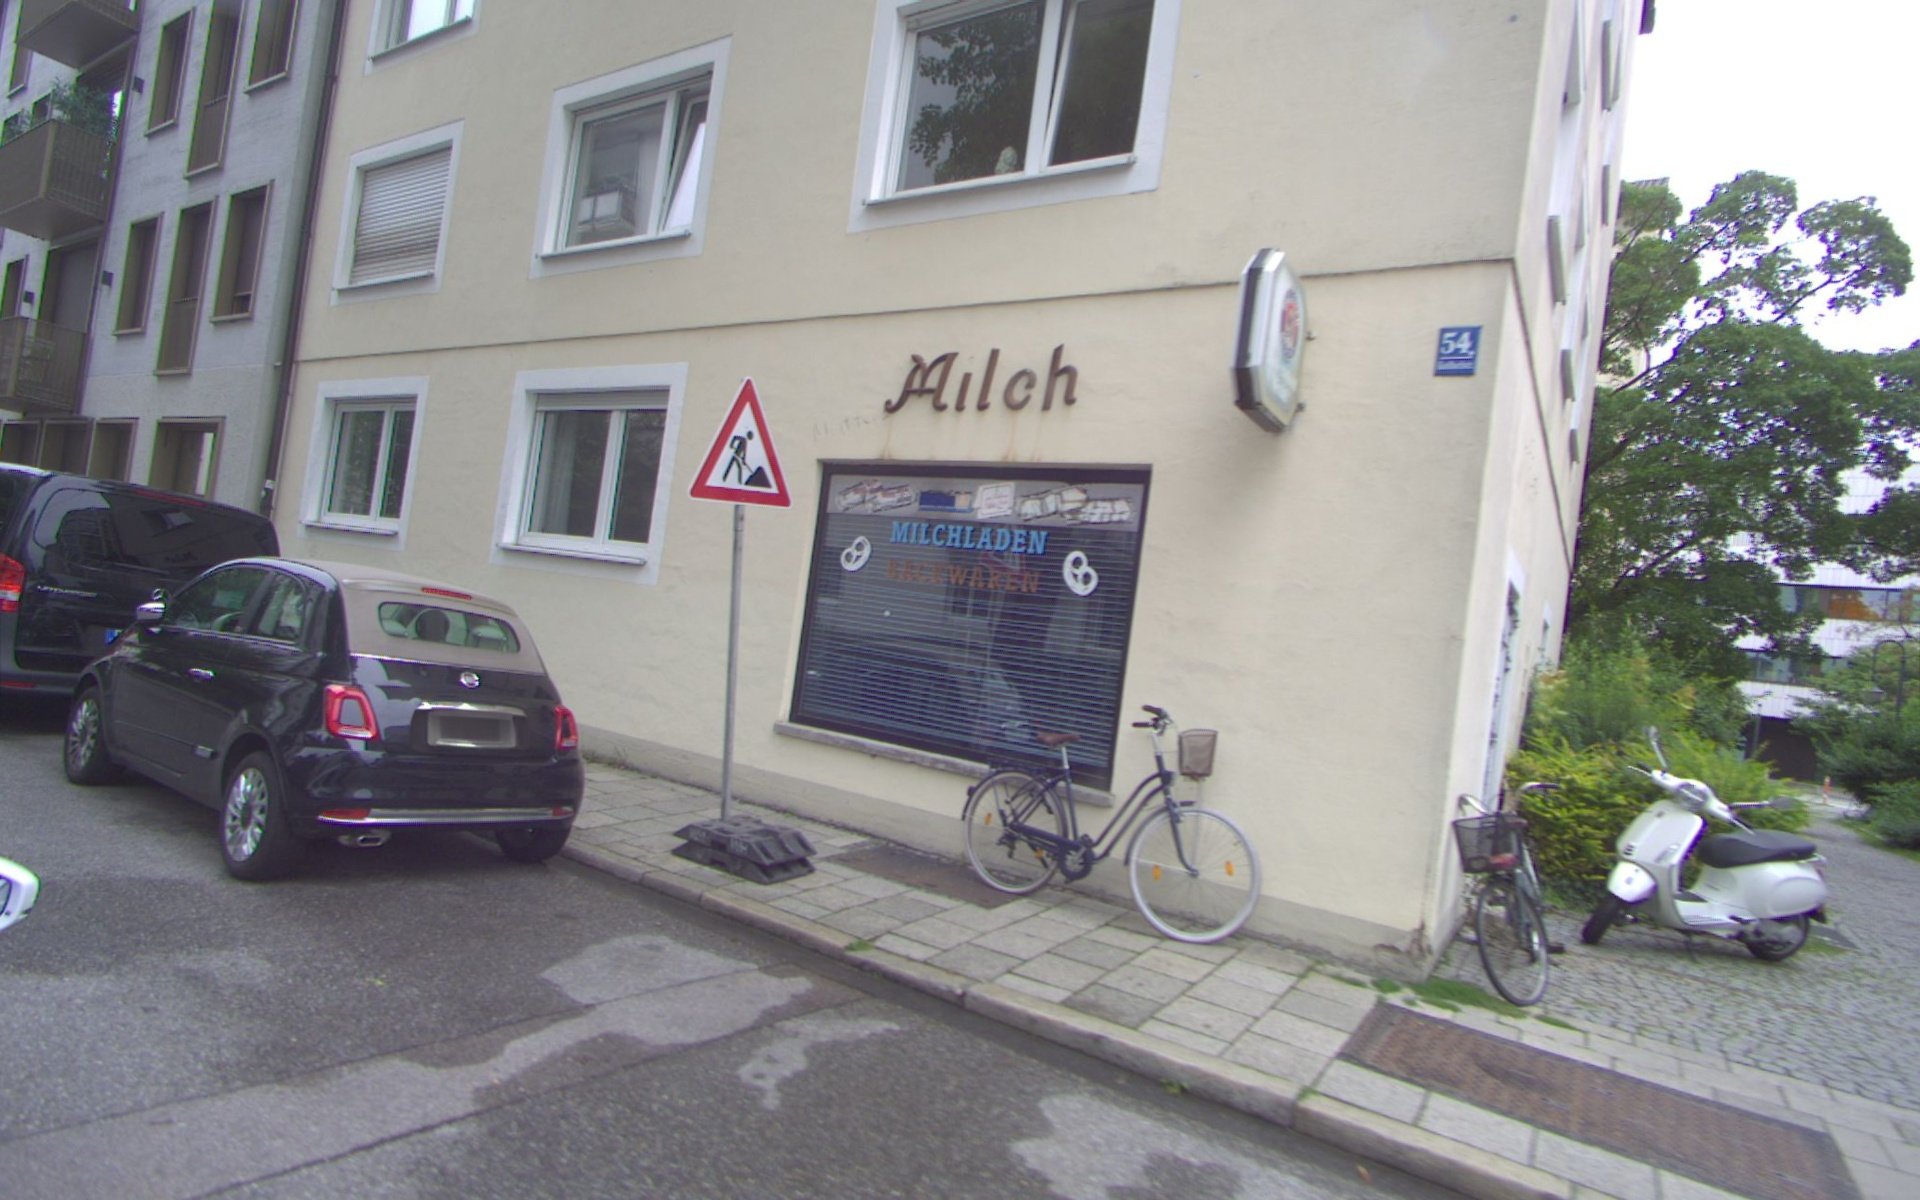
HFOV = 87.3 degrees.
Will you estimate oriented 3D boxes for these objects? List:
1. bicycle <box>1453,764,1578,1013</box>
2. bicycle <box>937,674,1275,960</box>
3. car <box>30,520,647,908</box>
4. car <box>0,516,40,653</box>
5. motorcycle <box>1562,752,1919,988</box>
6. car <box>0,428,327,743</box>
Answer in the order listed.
[{"bbox_3d":[3.116,1.493,5.573,0.404,1.039,1.703,5,-2,33],"label":"bicycle"},{"bbox_3d":[0.767,1.132,5.680,1.790,1.229,0.410,5,0,34],"label":"bicycle"},{"bbox_3d":[-3.732,0.513,5.909,3.481,1.487,1.638,6,-4,34],"label":"car"},{"bbox_3d":[-12.618,-0.457,11.728,4.311,1.476,1.772,6,-4,35],"label":"car"},{"bbox_3d":[5.030,1.713,6.481,1.841,1.135,0.621,9,0,-5],"label":"motorcycle"},{"bbox_3d":[-7.795,-0.209,8.499,4.803,1.997,1.996,7,-4,31],"label":"car"}]
